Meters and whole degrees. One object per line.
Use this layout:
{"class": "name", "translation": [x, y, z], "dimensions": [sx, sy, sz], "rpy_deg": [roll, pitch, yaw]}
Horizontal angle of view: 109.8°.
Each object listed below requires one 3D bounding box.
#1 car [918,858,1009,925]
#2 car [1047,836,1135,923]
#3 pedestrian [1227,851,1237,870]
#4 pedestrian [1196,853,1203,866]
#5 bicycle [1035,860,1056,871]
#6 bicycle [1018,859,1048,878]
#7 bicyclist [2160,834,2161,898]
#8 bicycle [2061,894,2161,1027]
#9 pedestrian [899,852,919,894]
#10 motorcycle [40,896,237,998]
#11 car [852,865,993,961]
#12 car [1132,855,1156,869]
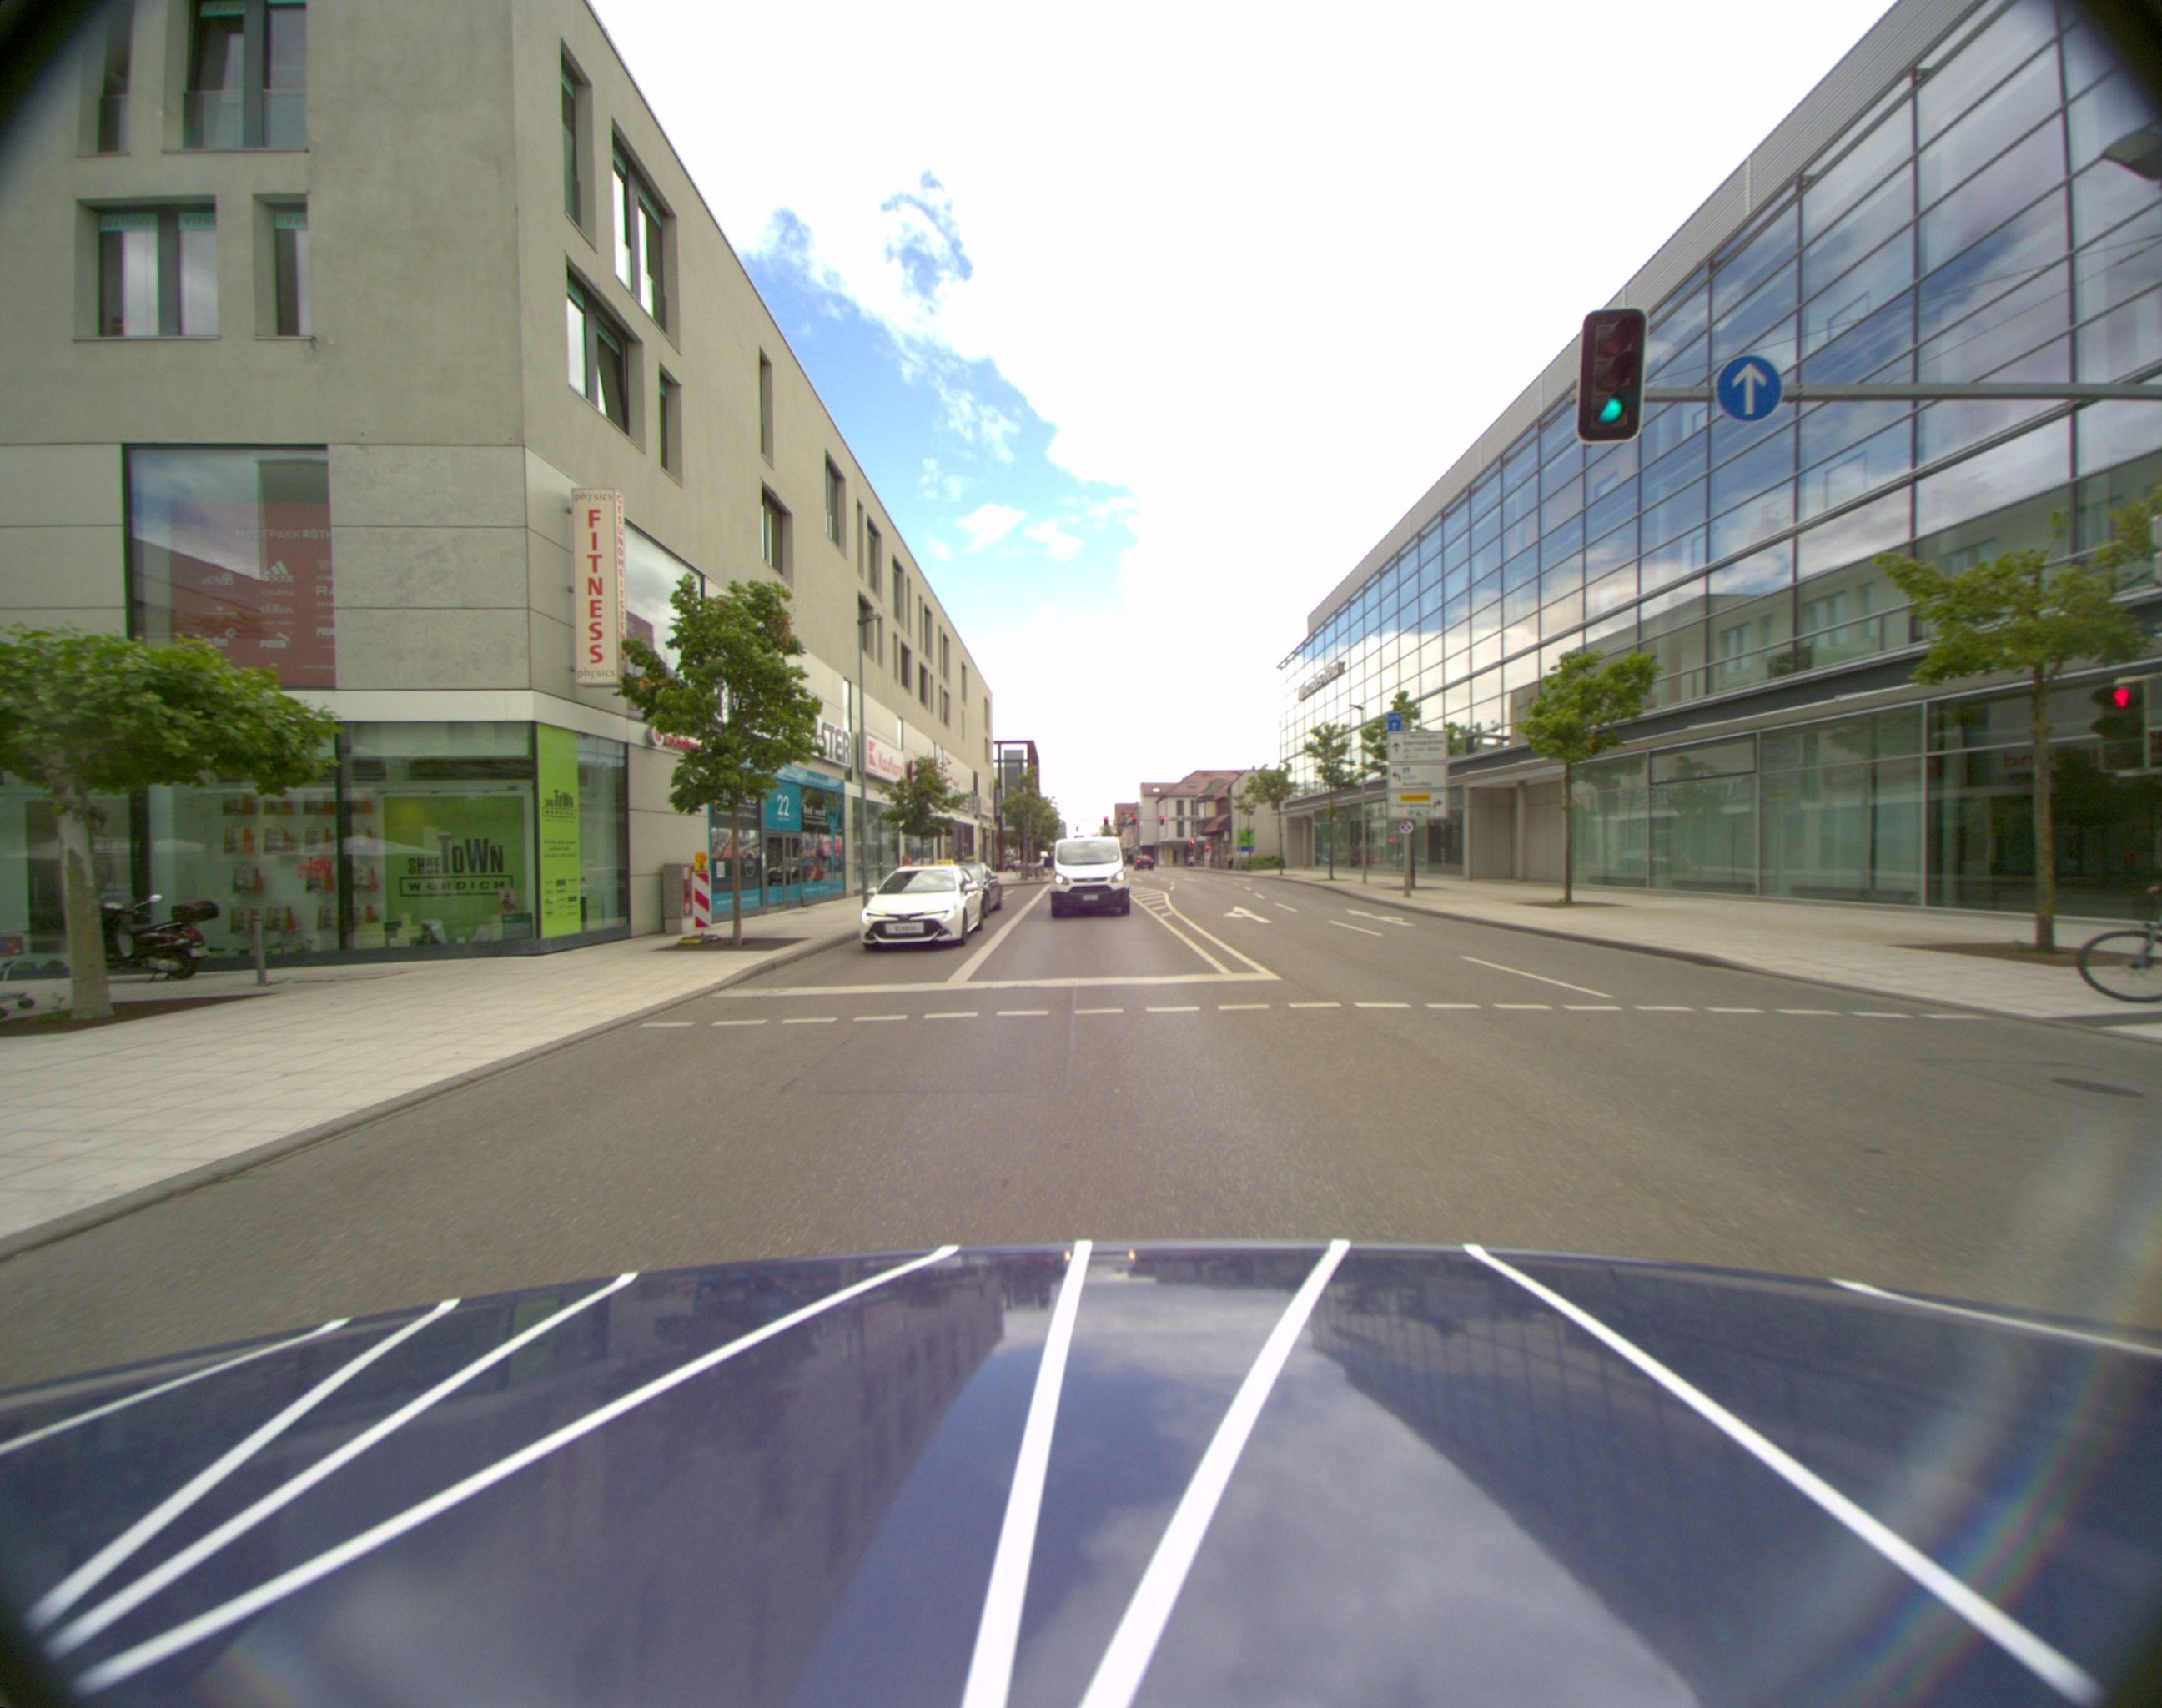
{"class": "car", "translation": [-3.173, 0.947, 21.407], "dimensions": [1.741, 1.533, 4.790], "rpy_deg": [-3, 0, 0]}
{"class": "car", "translation": [0.233, 0.591, 20.555], "dimensions": [2.000, 1.976, 5.000], "rpy_deg": [-3, 0, 0]}
{"class": "pedestrian", "translation": [13.110, 0.546, 65.861], "dimensions": [0.702, 1.614, 0.693], "rpy_deg": [-1, 0, 0]}
{"class": "pedestrian", "translation": [14.079, 0.618, 90.289], "dimensions": [0.555, 1.507, 0.582], "rpy_deg": [-1, 1, -32]}
{"class": "bicycle", "translation": [-3.084, 0.999, 65.979], "dimensions": [1.745, 1.015, 0.451], "rpy_deg": [0, 0, -6]}
{"class": "bicycle", "translation": [-2.926, 0.898, 45.877], "dimensions": [1.745, 1.093, 0.561], "rpy_deg": [1, 0, -7]}
{"class": "bicyclist", "translation": [10.830, 0.693, 7.058], "dimensions": [0.772, 1.789, 0.749], "rpy_deg": [-2, 1, 44]}
{"class": "bicycle", "translation": [10.835, 0.997, 7.051], "dimensions": [2.025, 1.199, 0.749], "rpy_deg": [-3, 1, 44]}
{"class": "pedestrian", "translation": [-6.557, 0.725, 28.970], "dimensions": [0.590, 1.558, 0.732], "rpy_deg": [1, 1, 0]}
{"class": "motorcycle", "translation": [-13.232, 1.295, 10.705], "dimensions": [1.844, 1.251, 0.593], "rpy_deg": [-3, 3, -2]}
{"class": "car", "translation": [-2.853, 0.994, 14.691], "dimensions": [1.787, 1.417, 4.514], "rpy_deg": [-2, 0, -1]}
{"class": "car", "translation": [6.443, 0.805, 77.980], "dimensions": [1.803, 1.458, 3.998], "rpy_deg": [0, 0, -5]}
